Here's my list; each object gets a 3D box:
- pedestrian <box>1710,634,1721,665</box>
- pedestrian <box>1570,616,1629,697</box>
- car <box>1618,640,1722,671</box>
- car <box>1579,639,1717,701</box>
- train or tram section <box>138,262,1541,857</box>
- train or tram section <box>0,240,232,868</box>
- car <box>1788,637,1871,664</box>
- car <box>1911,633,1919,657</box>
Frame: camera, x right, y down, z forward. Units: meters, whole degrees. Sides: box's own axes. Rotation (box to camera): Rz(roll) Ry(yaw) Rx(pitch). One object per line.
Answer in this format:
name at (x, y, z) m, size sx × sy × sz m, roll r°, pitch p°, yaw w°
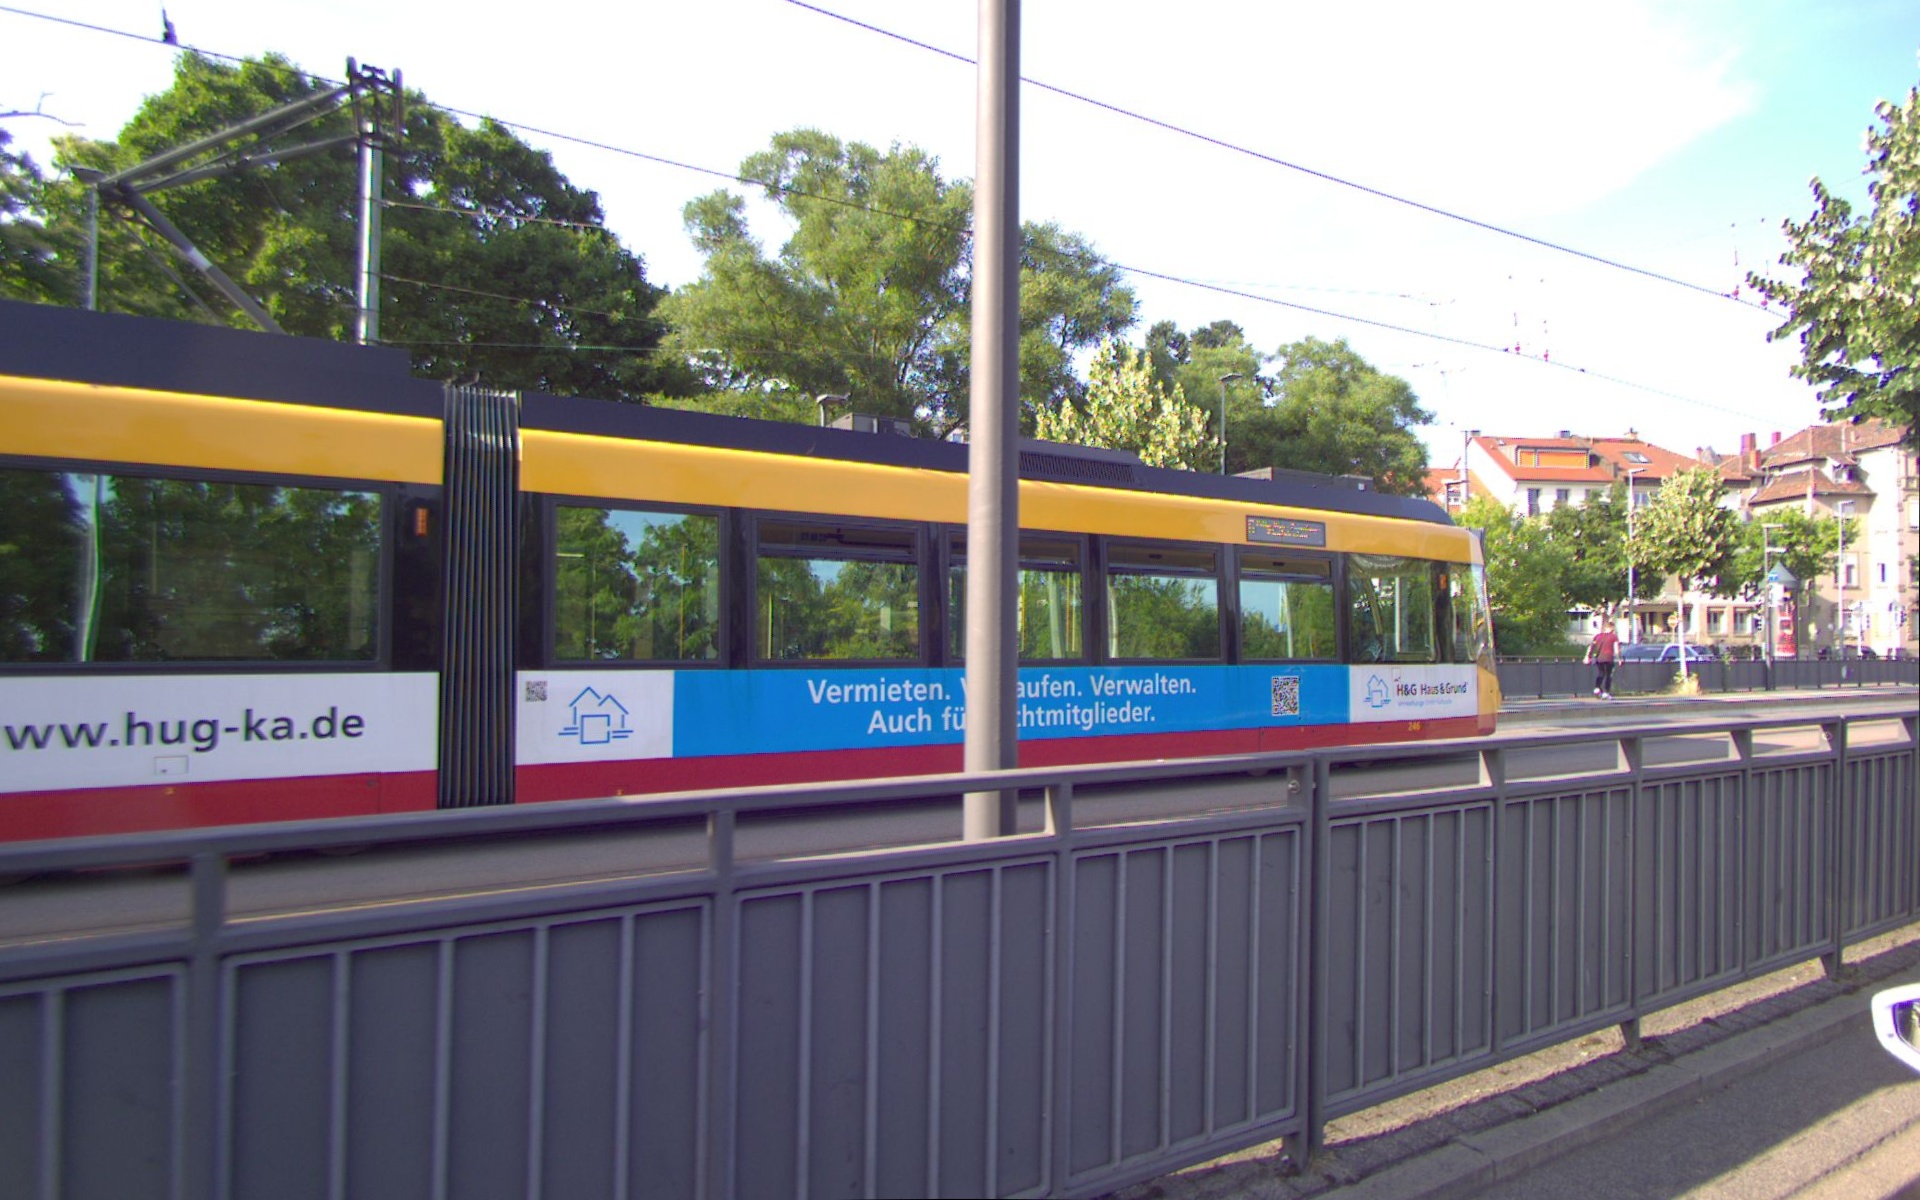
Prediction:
pedestrian at (50.308, 3.283, 66.910) m, size 0.426 × 2.040 × 0.421 m, roll 1°, pitch -1°, yaw -10°
pedestrian at (14.227, 1.245, 22.350) m, size 0.763 × 1.756 × 0.832 m, roll 1°, pitch -2°, yaw -29°
car at (35.875, 2.769, 50.882) m, size 1.966 × 1.416 × 3.989 m, roll 1°, pitch -1°, yaw -14°
car at (20.781, 2.066, 30.318) m, size 3.953 × 1.706 × 1.984 m, roll 1°, pitch -1°, yaw -31°
train or tram section at (0.607, -0.092, 10.893) m, size 14.299 × 3.525 × 3.147 m, roll 1°, pitch -1°, yaw -30°
train or tram section at (-11.812, -0.360, 3.752) m, size 14.359 × 3.525 × 3.147 m, roll 1°, pitch -1°, yaw -30°
car at (59.827, 3.457, 69.228) m, size 1.965 × 1.773 × 3.992 m, roll 1°, pitch -1°, yaw -11°
car at (69.070, 3.124, 69.587) m, size 4.628 × 1.649 × 2.209 m, roll 1°, pitch -1°, yaw -6°
